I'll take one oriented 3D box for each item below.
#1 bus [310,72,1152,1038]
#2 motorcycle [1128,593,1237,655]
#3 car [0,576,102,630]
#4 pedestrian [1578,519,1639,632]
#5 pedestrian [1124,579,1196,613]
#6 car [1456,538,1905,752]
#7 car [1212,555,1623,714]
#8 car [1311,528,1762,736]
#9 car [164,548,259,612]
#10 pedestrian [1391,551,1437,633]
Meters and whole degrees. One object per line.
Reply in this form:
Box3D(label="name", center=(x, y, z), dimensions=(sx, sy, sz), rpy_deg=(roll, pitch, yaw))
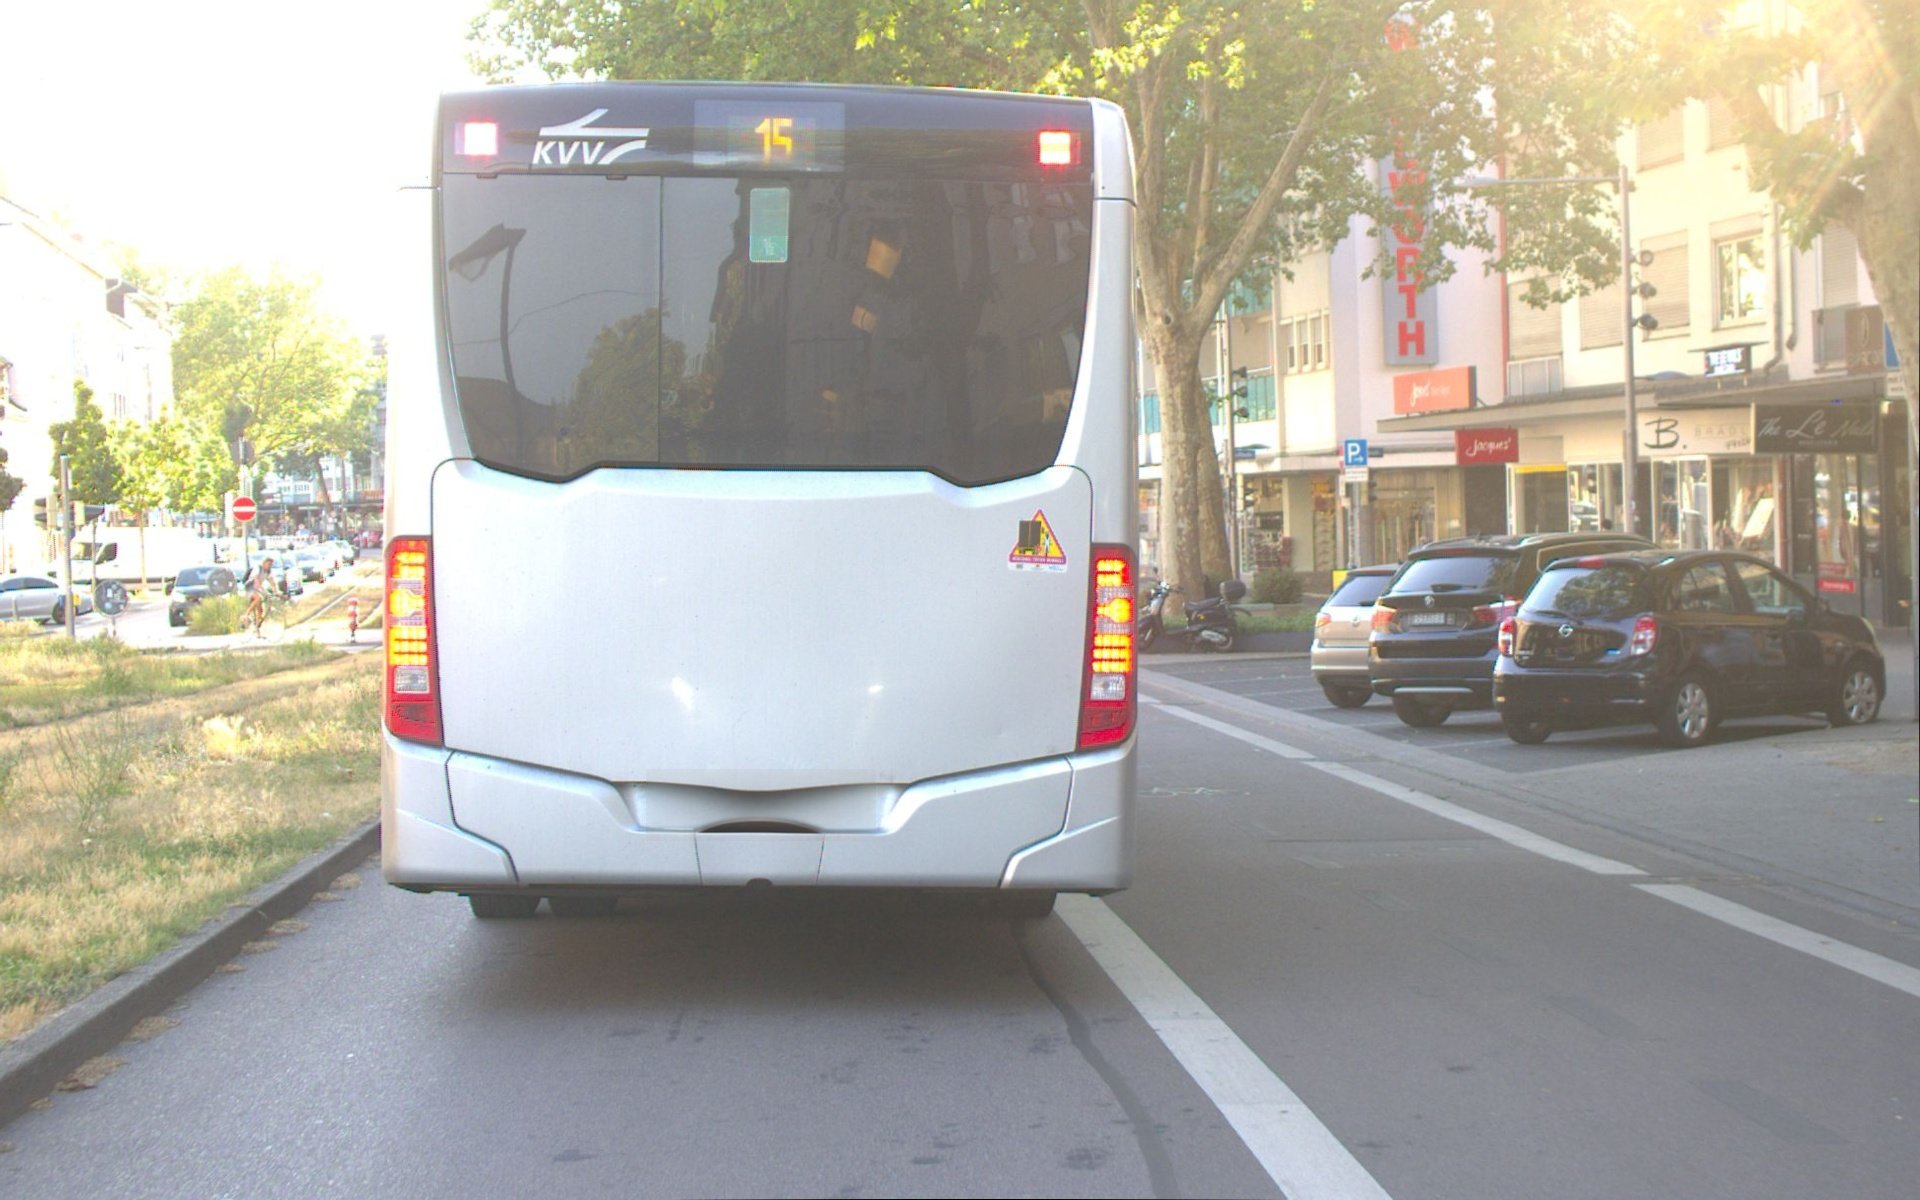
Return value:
Box3D(label="bus", center=(-0.855, -0.218, 14.541), dimensions=(2.678, 3.073, 7.115), rpy_deg=(0, 1, -2))
Box3D(label="motorcycle", center=(3.388, 0.364, 52.449), dimensions=(1.570, 0.889, 0.545), rpy_deg=(-2, 1, -6))
Box3D(label="car", center=(-26.368, 0.110, 95.311), dimensions=(4.539, 1.407, 1.999), rpy_deg=(-2, 1, -39))
Box3D(label="pedestrian", center=(10.513, -0.401, 55.761), dimensions=(0.780, 1.787, 0.764), rpy_deg=(-1, 1, -3))
Box3D(label="pedestrian", center=(3.688, -0.074, 63.401), dimensions=(1.253, 0.587, 0.482), rpy_deg=(-1, 1, -5))
Box3D(label="car", center=(5.804, 0.321, 27.494), dimensions=(3.599, 1.535, 1.741), rpy_deg=(-2, 1, -43))
Box3D(label="car", center=(4.711, 0.317, 35.104), dimensions=(4.166, 1.446, 1.809), rpy_deg=(-2, 1, -41))
Box3D(label="car", center=(5.194, 0.242, 30.690), dimensions=(4.140, 1.675, 1.809), rpy_deg=(-2, 1, -43))
Box3D(label="car", center=(-19.301, -0.525, 88.749), dimensions=(1.722, 1.504, 3.476), rpy_deg=(-4, 1, -2))
Box3D(label="pedestrian", center=(9.625, -0.174, 72.886), dimensions=(0.747, 1.673, 0.835), rpy_deg=(-1, 3, -9))
